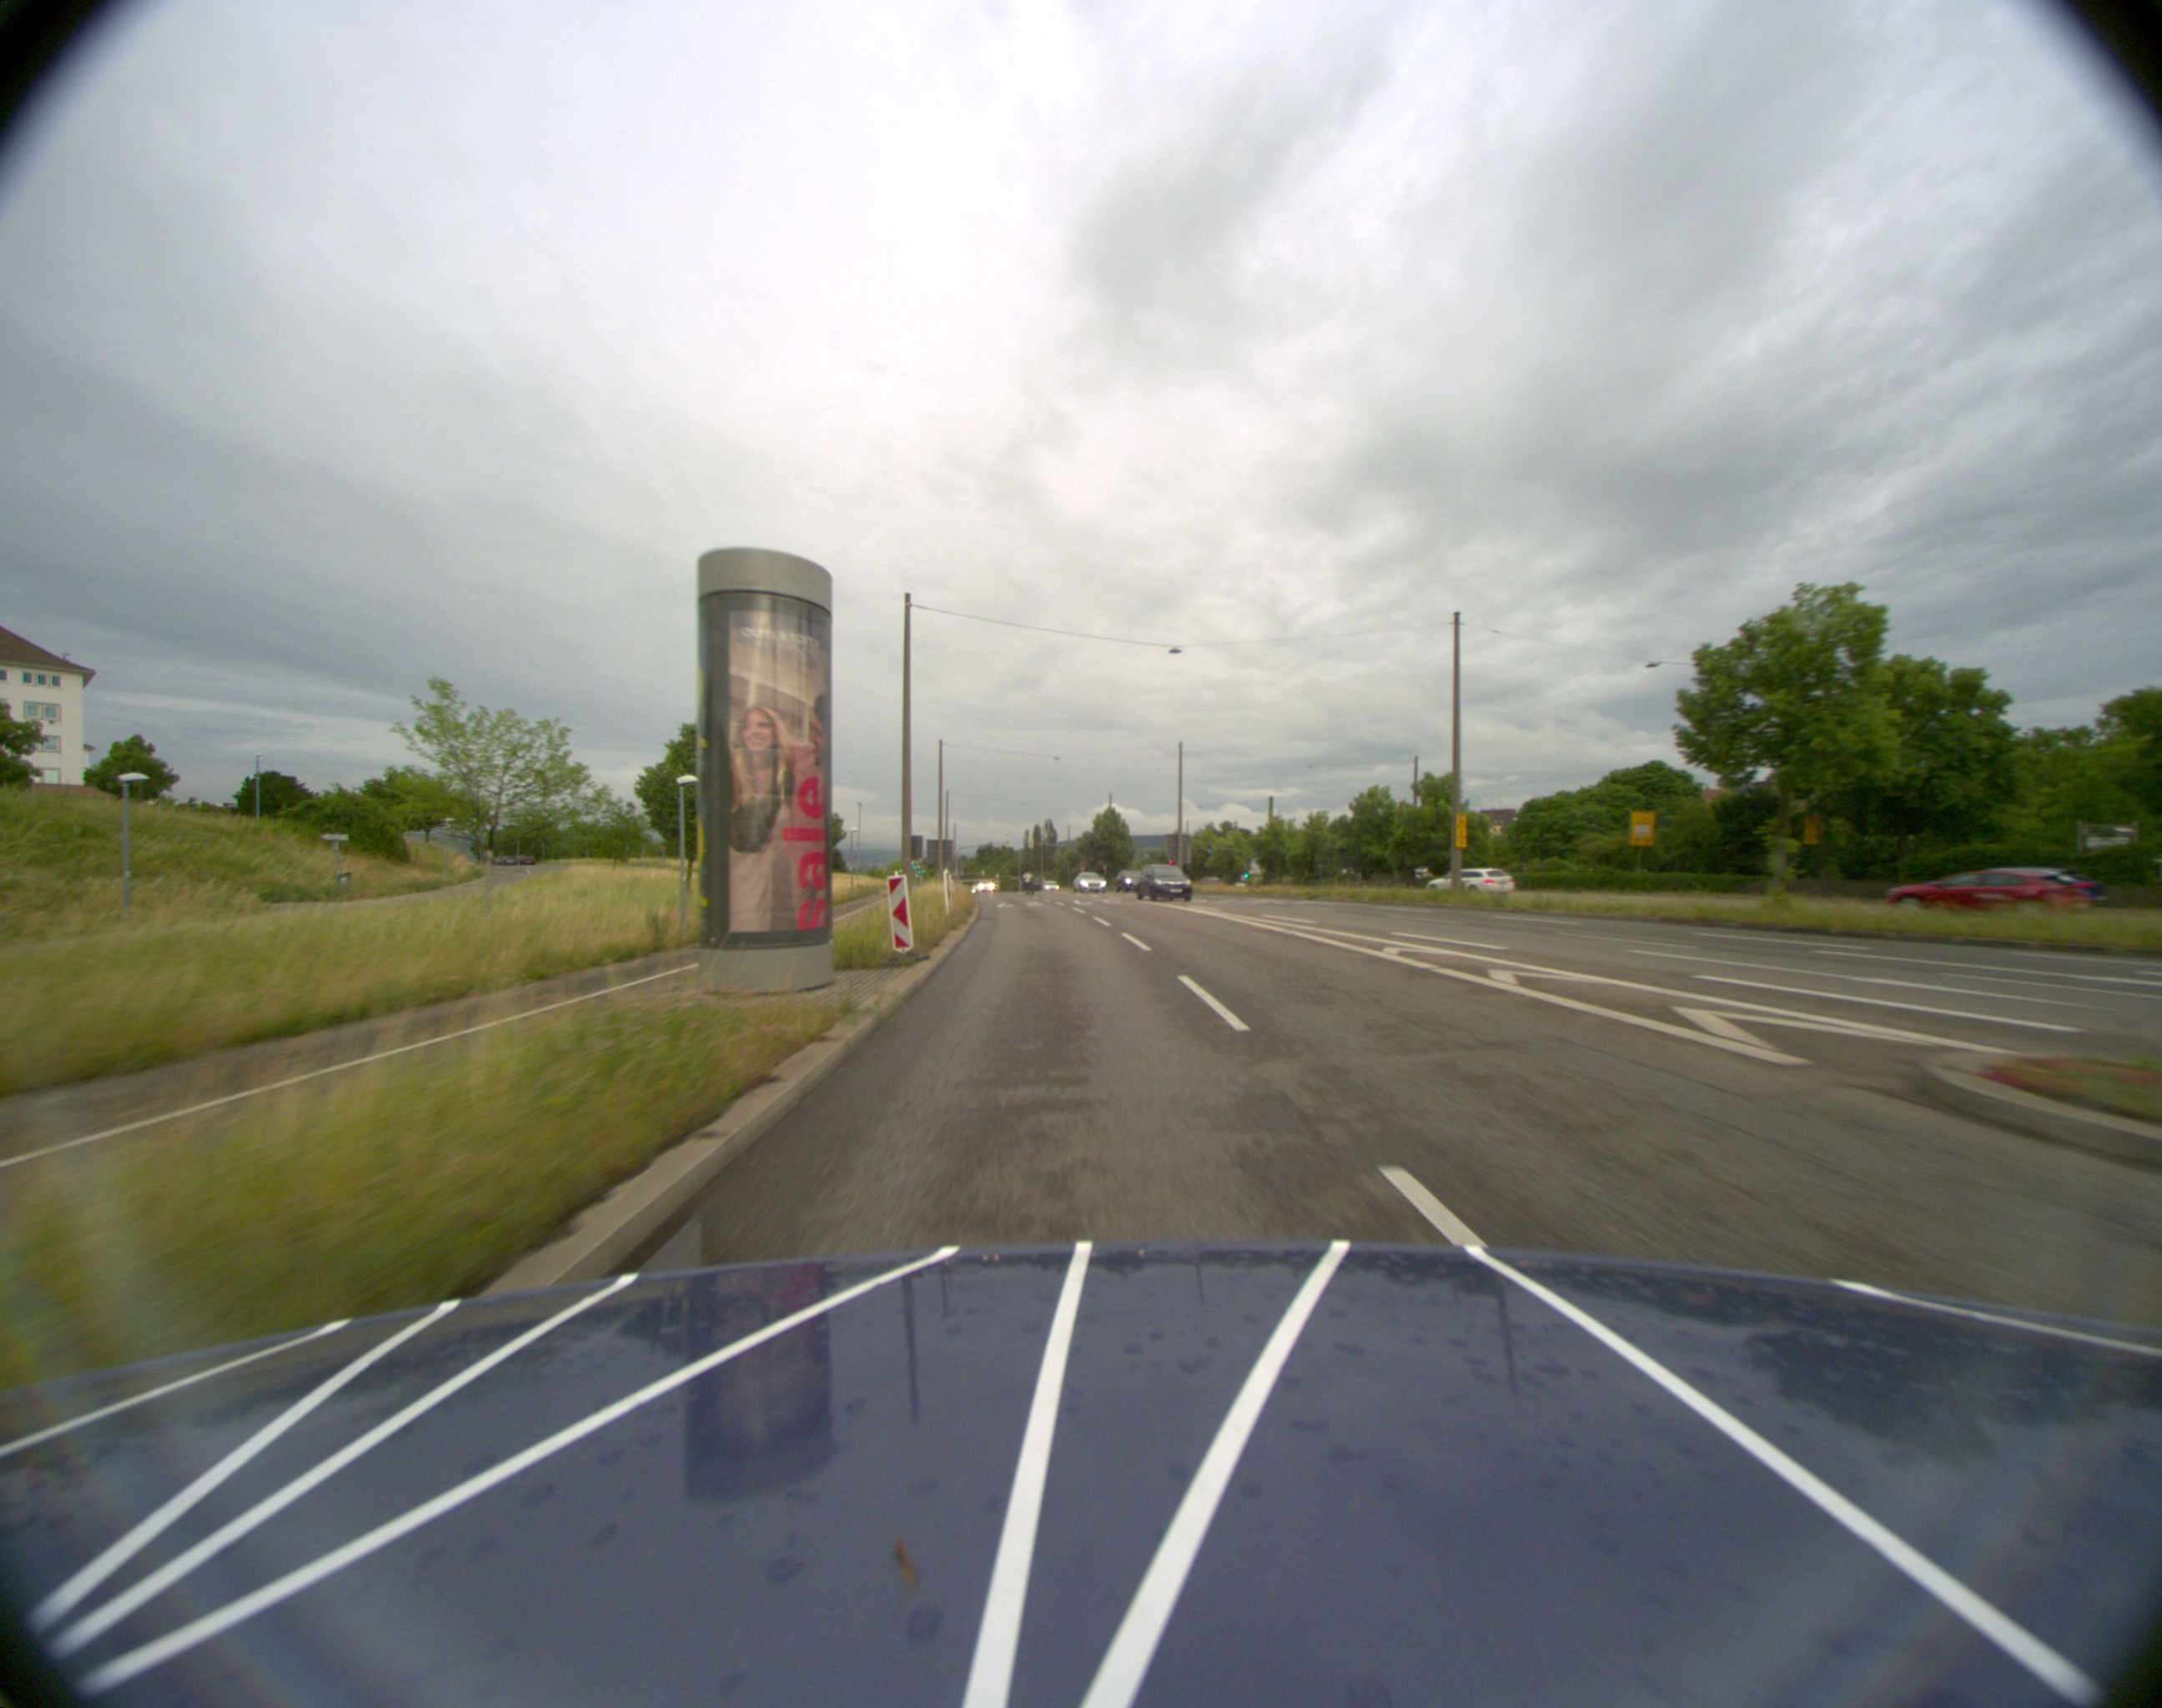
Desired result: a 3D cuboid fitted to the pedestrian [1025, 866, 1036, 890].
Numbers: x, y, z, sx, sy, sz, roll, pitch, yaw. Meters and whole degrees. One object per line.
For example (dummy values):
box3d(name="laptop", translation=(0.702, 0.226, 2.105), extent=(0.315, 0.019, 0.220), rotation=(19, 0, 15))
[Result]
box3d(name="pedestrian", translation=(-3.339, 1.593, 50.183), extent=(0.635, 1.560, 0.895), rotation=(-1, -3, -11))

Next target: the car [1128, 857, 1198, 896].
box3d(name="car", translation=(3.531, 0.940, 33.365), extent=(1.802, 1.556, 4.038), rotation=(-2, 0, -13))

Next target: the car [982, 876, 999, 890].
box3d(name="car", translation=(-10.267, 3.303, 86.489), extent=(1.726, 1.512, 4.228), rotation=(-1, -3, -4))

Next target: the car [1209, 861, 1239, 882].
box3d(name="car", translation=(13.547, 1.661, 72.161), extent=(1.999, 1.871, 3.999), rotation=(-1, 0, -1))

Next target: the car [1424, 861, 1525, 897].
box3d(name="car", translation=(20.693, 1.269, 40.241), extent=(2.001, 1.760, 4.865), rotation=(-1, -1, -14))

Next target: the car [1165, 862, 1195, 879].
box3d(name="car", translation=(9.278, 1.597, 71.538), extent=(1.895, 1.498, 3.999), rotation=(1, -2, -7))

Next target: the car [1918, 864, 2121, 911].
box3d(name="car", translation=(32.022, 1.080, 26.098), extent=(1.884, 1.433, 3.976), rotation=(0, 0, -14))

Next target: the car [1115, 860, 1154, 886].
box3d(name="car", translation=(3.987, 1.451, 57.221), extent=(2.000, 1.849, 3.998), rotation=(-1, -2, -10))

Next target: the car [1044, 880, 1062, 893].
box3d(name="car", translation=(-3.870, 4.430, 104.022), extent=(2.000, 1.632, 4.627), rotation=(-2, -2, -7))

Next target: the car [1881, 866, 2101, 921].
box3d(name="car", translation=(28.193, 1.158, 23.728), extent=(1.916, 1.522, 3.994), rotation=(0, 0, -18))

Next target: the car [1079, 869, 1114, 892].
box3d(name="car", translation=(1.001, 1.856, 52.570), extent=(1.999, 1.399, 4.525), rotation=(-2, -3, -4))

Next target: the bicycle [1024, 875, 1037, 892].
box3d(name="bicycle", translation=(-3.313, 1.949, 50.034), extent=(0.635, 1.098, 1.752), rotation=(-1, -3, -11))

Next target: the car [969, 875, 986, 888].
box3d(name="car", translation=(-13.795, 3.645, 101.565), extent=(1.999, 1.632, 4.628), rotation=(-2, -2, -5))
